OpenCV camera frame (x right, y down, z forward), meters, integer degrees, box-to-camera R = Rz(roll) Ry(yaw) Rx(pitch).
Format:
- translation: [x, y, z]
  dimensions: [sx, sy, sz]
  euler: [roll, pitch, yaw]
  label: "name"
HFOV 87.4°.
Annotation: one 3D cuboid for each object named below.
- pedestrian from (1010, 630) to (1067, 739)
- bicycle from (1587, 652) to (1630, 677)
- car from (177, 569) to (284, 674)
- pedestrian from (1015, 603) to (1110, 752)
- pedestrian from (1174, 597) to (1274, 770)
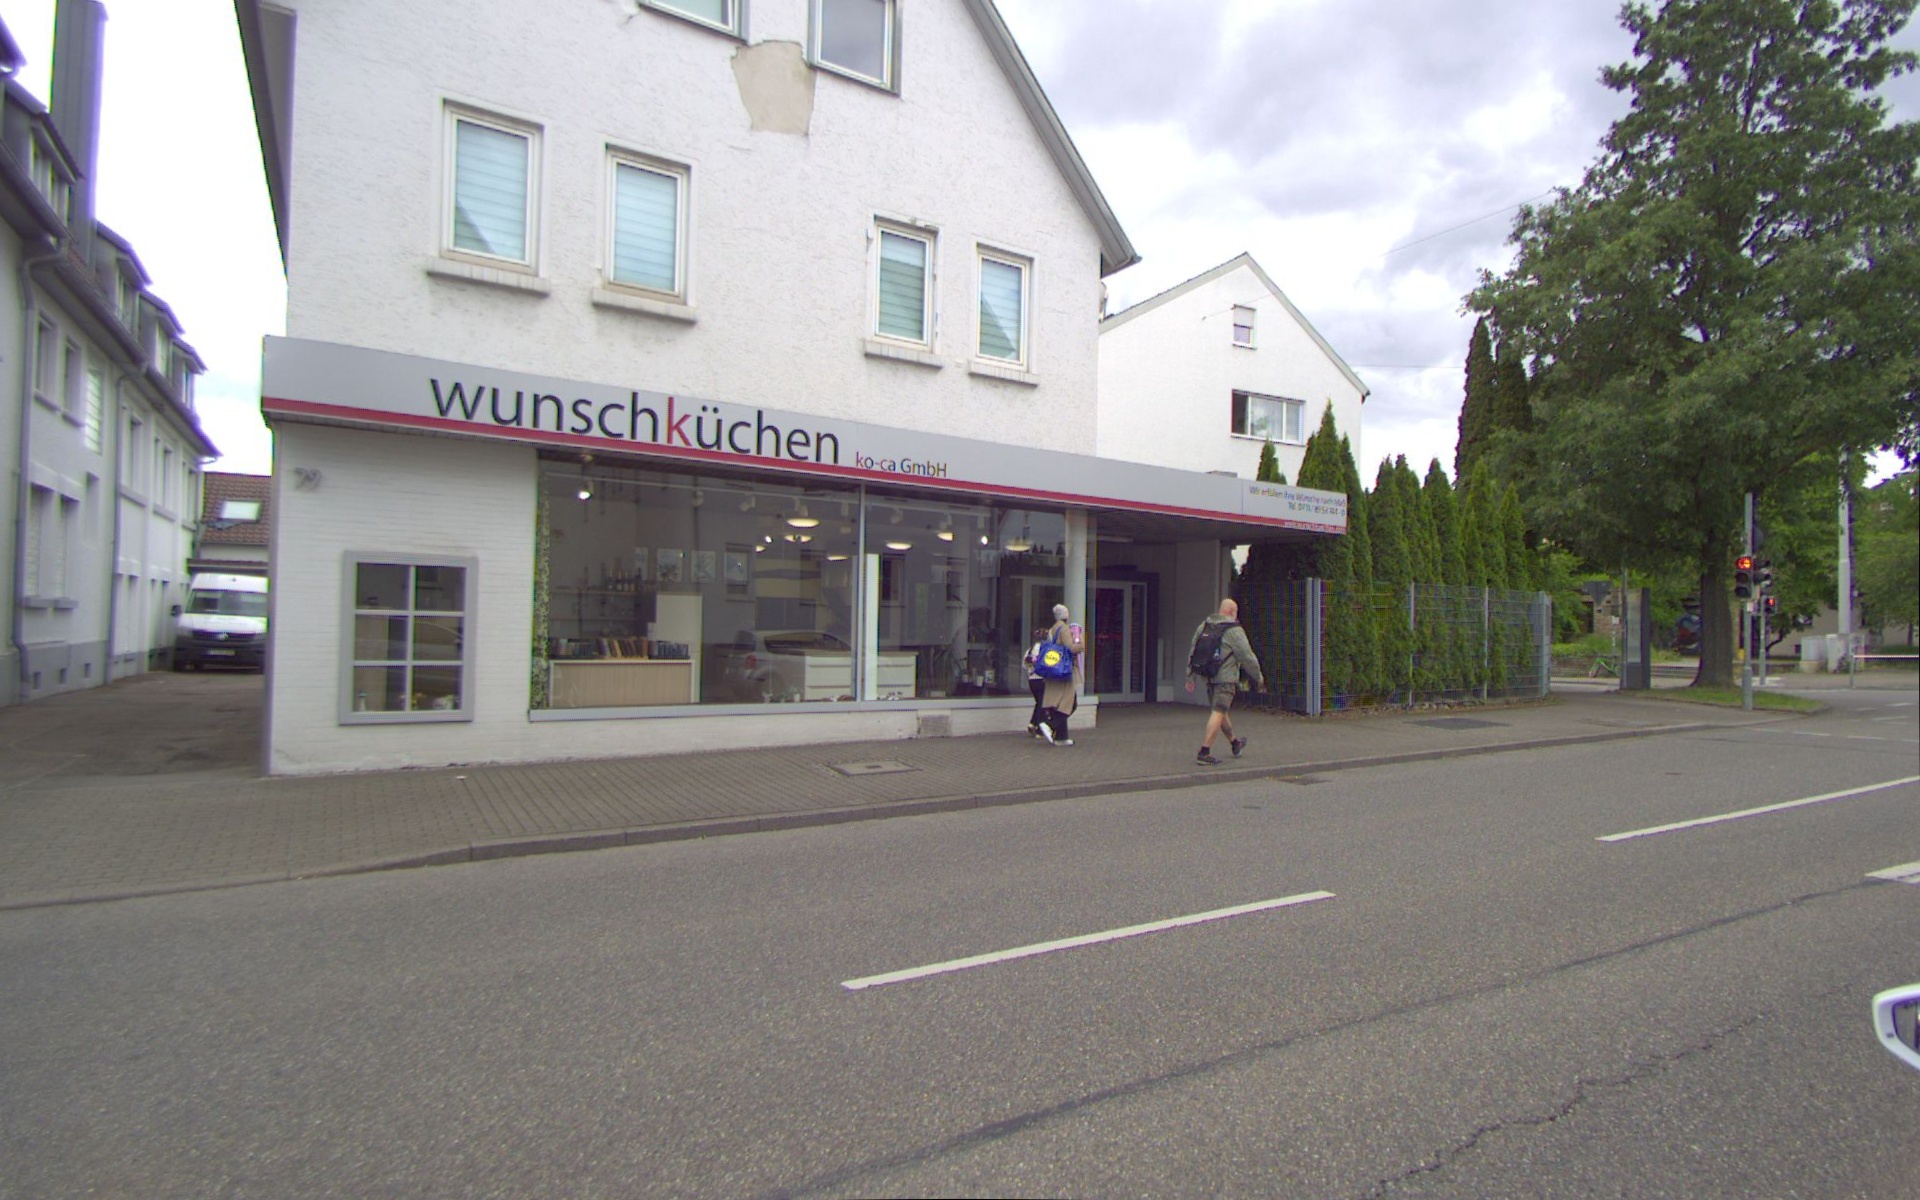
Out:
- translation: [0.950, 1.006, 12.158]
  dimensions: [0.546, 1.278, 0.378]
  euler: [2, 0, -41]
  label: "pedestrian"
- translation: [25.402, 2.523, 39.360]
  dimensions: [0.421, 0.954, 1.304]
  euler: [2, -5, -37]
  label: "bicycle"
- translation: [-18.934, 0.596, 26.178]
  dimensions: [1.981, 2.455, 3.961]
  euler: [4, -3, -35]
  label: "car"
- translation: [1.188, 0.869, 11.636]
  dimensions: [0.860, 1.627, 0.634]
  euler: [2, 0, -41]
  label: "pedestrian"
- translation: [2.884, 0.872, 11.104]
  dimensions: [0.807, 1.777, 1.230]
  euler: [2, 0, 4]
  label: "pedestrian"
